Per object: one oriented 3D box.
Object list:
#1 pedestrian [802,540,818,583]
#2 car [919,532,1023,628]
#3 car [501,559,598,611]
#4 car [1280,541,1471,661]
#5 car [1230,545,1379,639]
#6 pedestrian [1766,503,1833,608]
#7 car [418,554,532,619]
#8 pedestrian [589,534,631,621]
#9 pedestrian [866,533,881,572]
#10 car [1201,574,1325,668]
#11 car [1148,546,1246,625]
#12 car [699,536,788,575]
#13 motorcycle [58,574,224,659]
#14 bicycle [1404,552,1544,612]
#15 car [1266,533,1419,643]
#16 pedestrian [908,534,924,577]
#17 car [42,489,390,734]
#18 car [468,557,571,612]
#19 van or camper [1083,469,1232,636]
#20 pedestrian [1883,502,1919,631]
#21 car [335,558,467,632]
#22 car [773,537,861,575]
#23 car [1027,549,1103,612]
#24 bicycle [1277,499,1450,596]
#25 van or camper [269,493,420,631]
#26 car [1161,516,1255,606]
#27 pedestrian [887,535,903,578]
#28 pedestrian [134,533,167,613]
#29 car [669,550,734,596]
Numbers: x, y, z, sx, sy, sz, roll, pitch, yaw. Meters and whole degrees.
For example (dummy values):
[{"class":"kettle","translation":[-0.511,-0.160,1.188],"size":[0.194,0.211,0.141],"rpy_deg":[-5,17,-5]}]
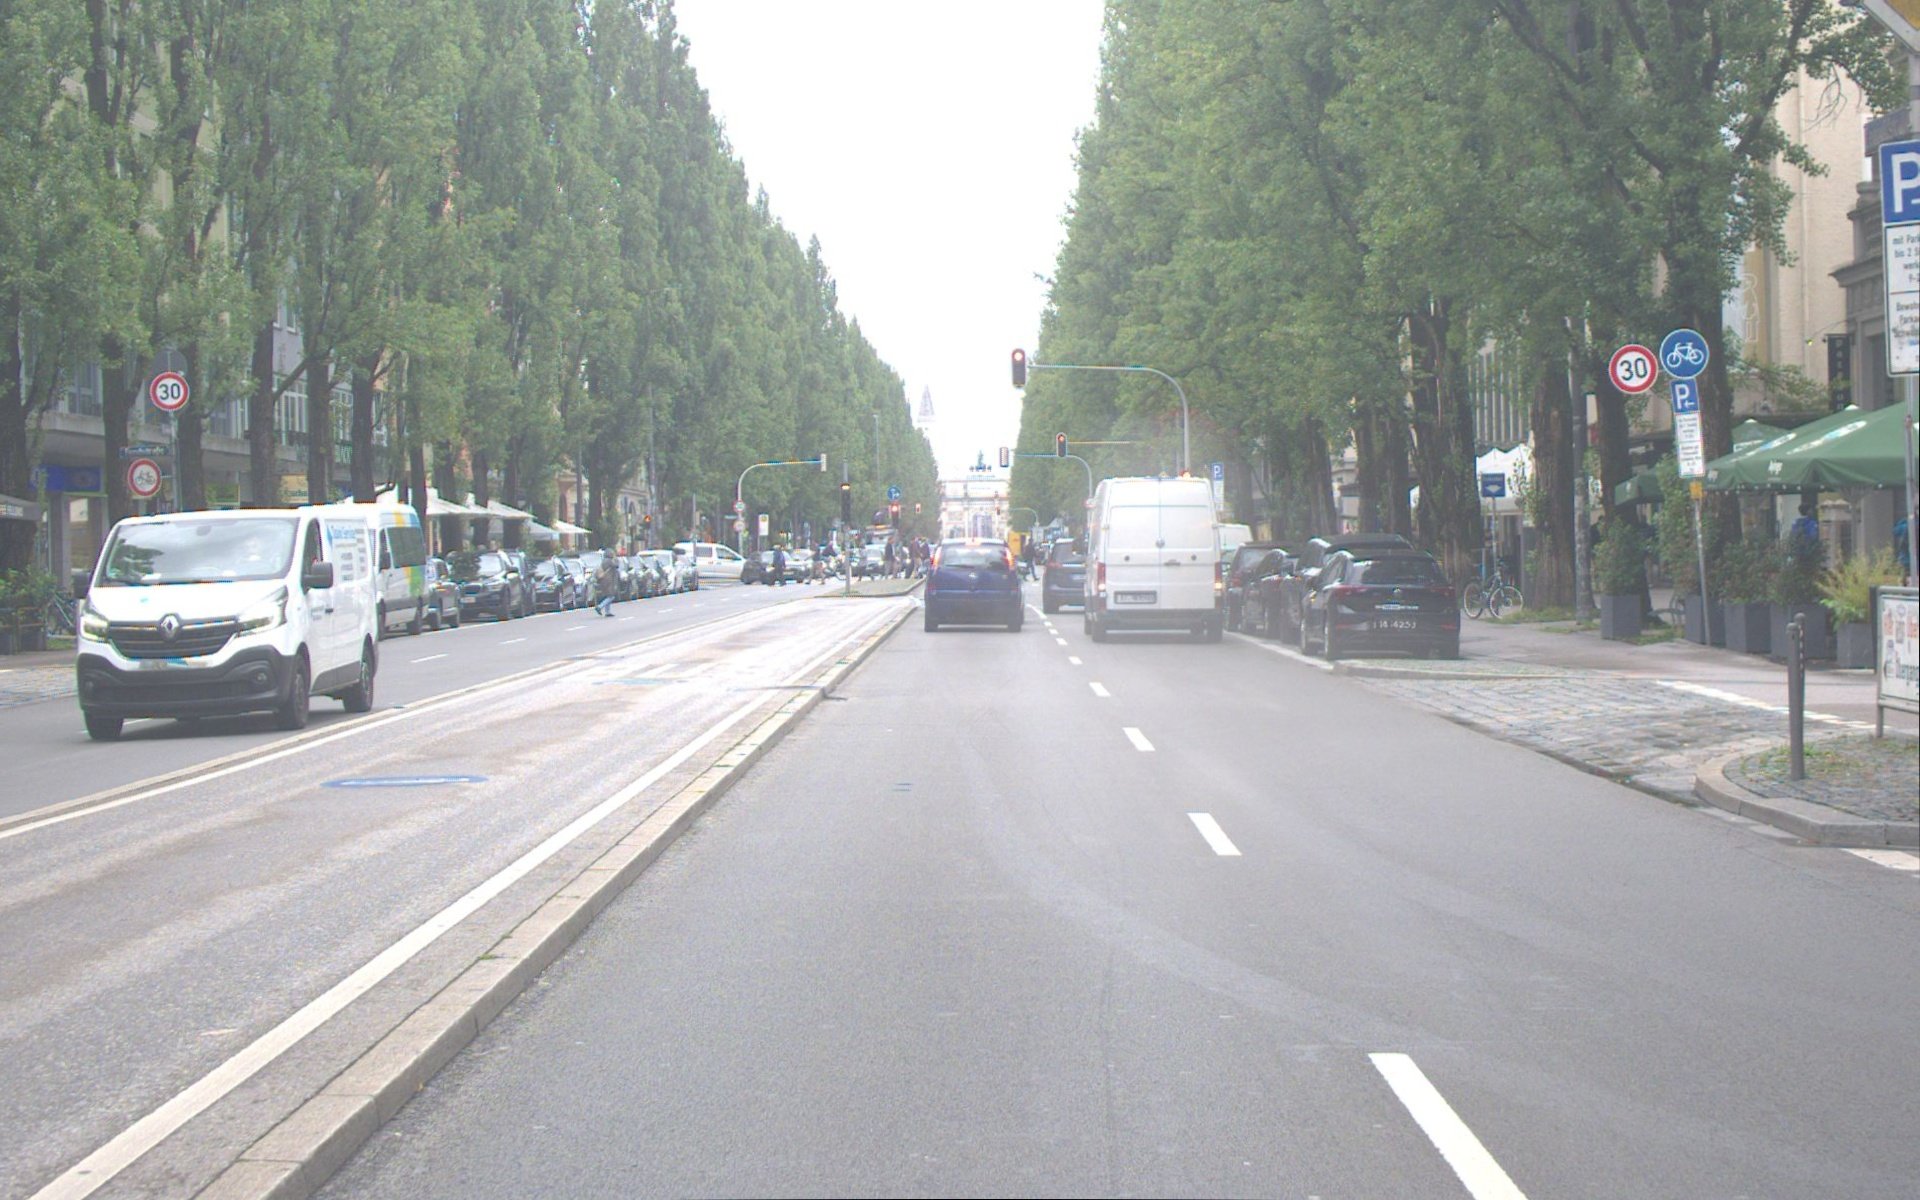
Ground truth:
[{"class":"pedestrian","translation":[-5.960,-1.541,136.711],"size":[0.553,1.710,0.493],"rpy_deg":[-2,1,1]},{"class":"car","translation":[0.207,-0.346,60.028],"size":[1.759,1.614,3.747],"rpy_deg":[0,0,1]},{"class":"car","translation":[-11.454,-0.404,96.076],"size":[1.994,1.415,3.999],"rpy_deg":[0,0,4]},{"class":"car","translation":[5.412,-0.025,45.240],"size":[1.944,1.462,4.000],"rpy_deg":[-1,1,-1]},{"class":"car","translation":[5.554,-0.133,55.856],"size":[1.993,1.459,4.000],"rpy_deg":[0,0,0]},{"class":"pedestrian","translation":[14.361,-0.760,58.775],"size":[0.814,1.749,0.931],"rpy_deg":[-1,1,32]},{"class":"car","translation":[-11.239,-0.309,79.943],"size":[1.993,1.481,4.000],"rpy_deg":[0,0,1]},{"class":"pedestrian","translation":[-8.163,-0.532,80.180],"size":[0.809,2.007,0.720],"rpy_deg":[-1,1,5]},{"class":"pedestrian","translation":[-4.456,-2.438,177.234],"size":[0.770,2.007,0.897],"rpy_deg":[0,0,0]},{"class":"car","translation":[5.266,0.347,60.101],"size":[1.804,1.590,4.000],"rpy_deg":[0,0,0]},{"class":"car","translation":[4.891,-0.296,71.382],"size":[1.762,1.590,4.000],"rpy_deg":[0,0,0]},{"class":"car","translation":[-10.001,-2.044,158.627],"size":[3.986,1.739,2.000],"rpy_deg":[0,0,-8]},{"class":"motorcycle","translation":[-11.971,0.220,50.429],"size":[1.238,1.136,3.716],"rpy_deg":[-1,1,5]},{"class":"bicycle","translation":[9.056,-0.316,60.655],"size":[0.759,1.020,2.734],"rpy_deg":[-2,1,-35]},{"class":"car","translation":[5.595,-0.203,50.680],"size":[1.785,1.519,3.941],"rpy_deg":[-1,1,0]},{"class":"pedestrian","translation":[-1.773,-1.806,138.586],"size":[0.553,1.710,0.493],"rpy_deg":[-2,1,1]},{"class":"car","translation":[-6.595,0.081,31.066],"size":[1.993,1.927,4.918],"rpy_deg":[-3,0,0]},{"class":"car","translation":[-11.612,-0.394,90.844],"size":[1.994,1.415,3.999],"rpy_deg":[0,0,4]},{"class":"van or camper","translation":[3.032,-0.696,53.630],"size":[2.034,2.467,4.000],"rpy_deg":[-1,0,0]},{"class":"pedestrian","translation":[13.912,-0.493,49.886],"size":[0.760,1.847,0.740],"rpy_deg":[-2,1,-3]},{"class":"car","translation":[-11.415,-0.097,70.454],"size":[1.993,1.470,4.000],"rpy_deg":[0,0,1]},{"class":"car","translation":[-6.703,-2.039,161.094],"size":[3.986,1.739,2.000],"rpy_deg":[0,0,-5]},{"class":"car","translation":[2.271,-0.442,74.941],"size":[1.503,1.308,3.283],"rpy_deg":[-1,1,0]},{"class":"bicycle","translation":[8.466,-1.099,72.087],"size":[3.550,2.007,1.296],"rpy_deg":[0,0,9]},{"class":"van or camper","translation":[-11.402,-0.714,63.954],"size":[1.993,2.450,4.251],"rpy_deg":[-1,1,0]},{"class":"car","translation":[5.567,-0.860,77.457],"size":[1.804,1.985,4.000],"rpy_deg":[0,0,0]},{"class":"pedestrian","translation":[-2.606,-1.729,137.362],"size":[0.553,1.710,0.493],"rpy_deg":[-2,1,1]},{"class":"pedestrian","translation":[-18.894,-0.629,80.215],"size":[0.582,1.850,0.675],"rpy_deg":[-1,1,0]},{"class":"car","translation":[-9.438,-0.982,125.788],"size":[1.817,1.526,3.797],"rpy_deg":[-4,0,3]}]
